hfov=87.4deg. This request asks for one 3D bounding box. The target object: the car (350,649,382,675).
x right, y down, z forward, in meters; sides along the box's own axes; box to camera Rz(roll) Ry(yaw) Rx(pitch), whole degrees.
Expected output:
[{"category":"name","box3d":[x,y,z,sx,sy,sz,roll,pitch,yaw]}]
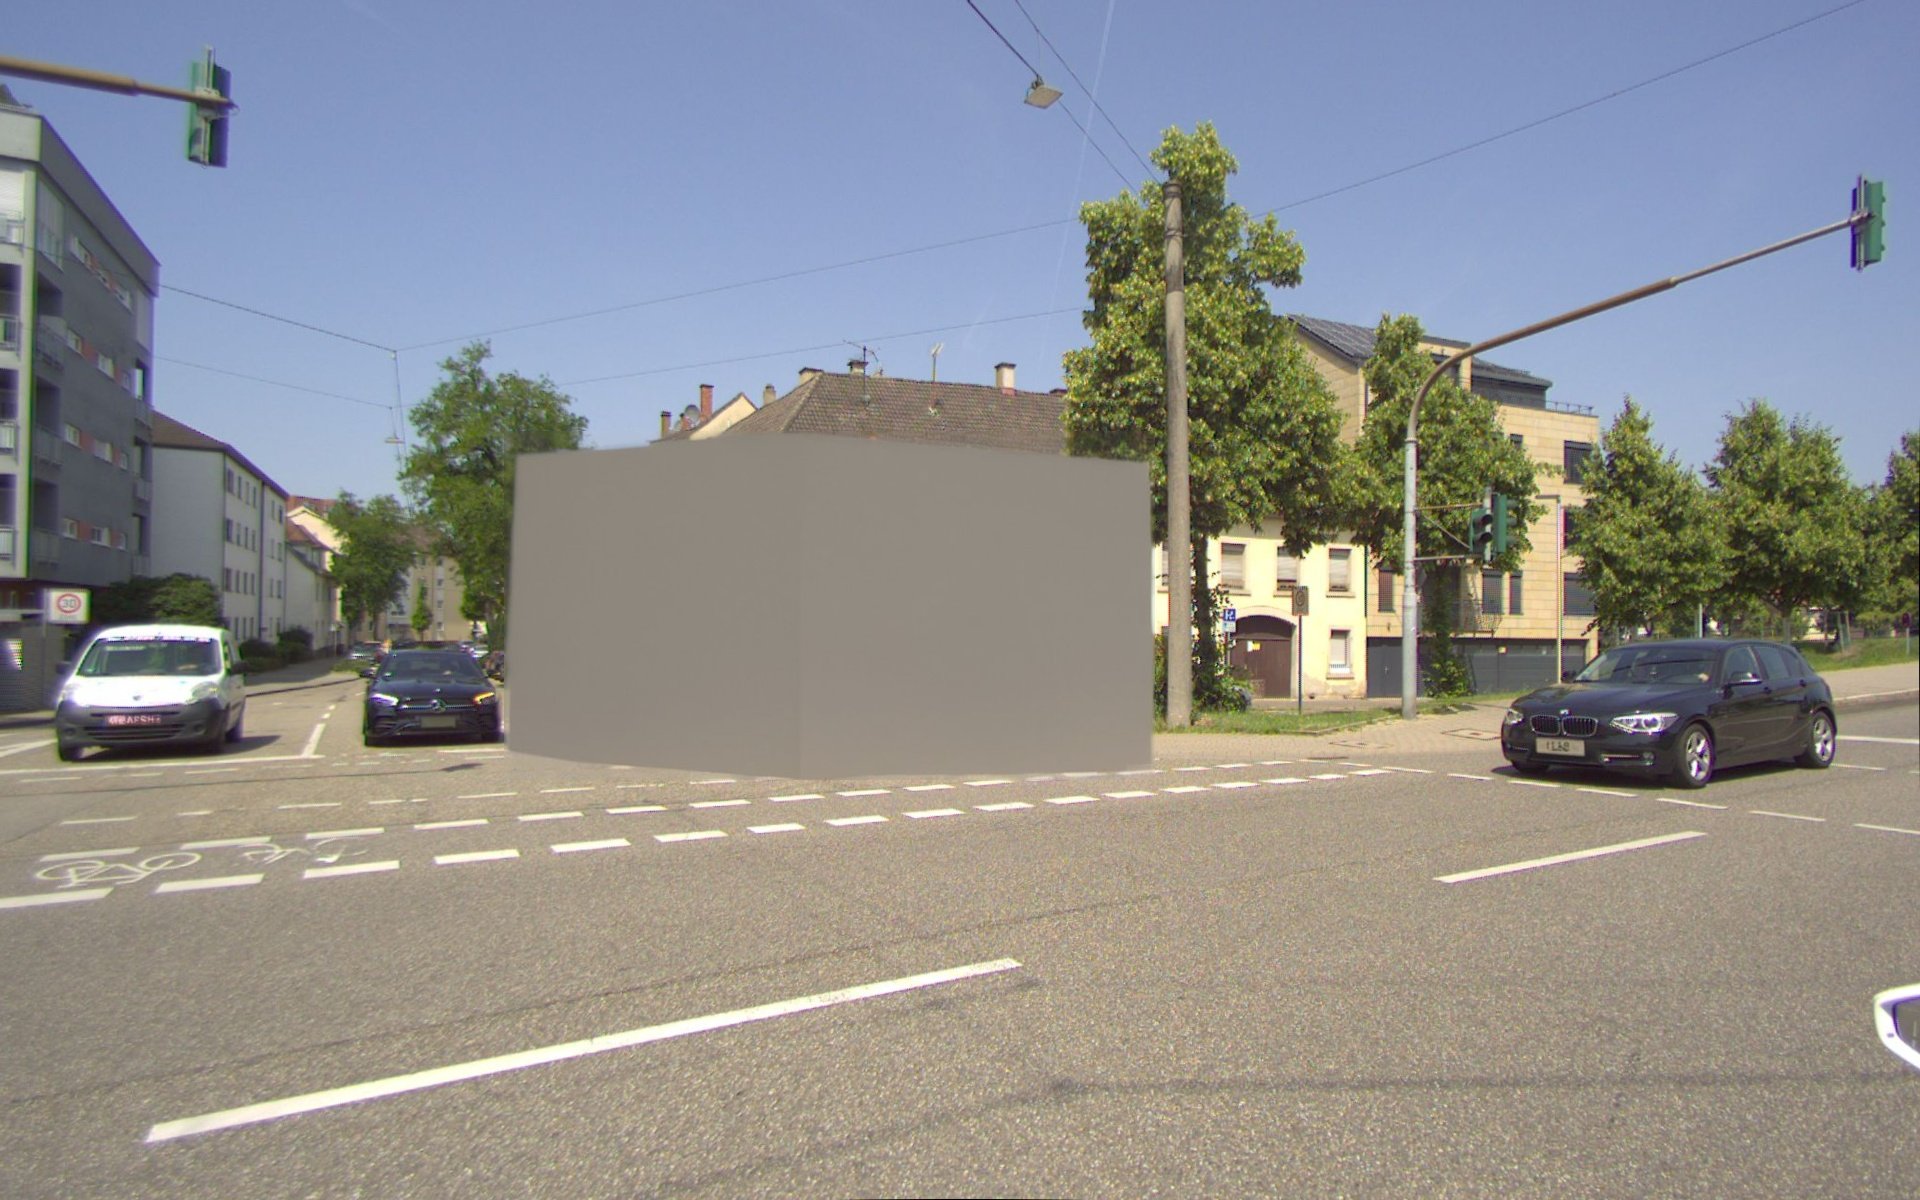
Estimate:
[{"category":"car","box3d":[-43.002,4.489,72.736,1.526,1.694,3.235,1,0,-23]}]

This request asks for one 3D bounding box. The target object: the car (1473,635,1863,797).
[{"category":"car","box3d":[7.608,1.117,10.751,4.000,1.417,1.829,1,-3,-29]}]

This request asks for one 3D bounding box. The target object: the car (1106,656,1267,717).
[{"category":"car","box3d":[6.597,2.474,29.201,4.365,1.451,1.772,-1,0,-23]}]

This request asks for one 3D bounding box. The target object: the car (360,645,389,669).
[{"category":"car","box3d":[-45.985,4.463,78.992,1.526,1.694,3.235,1,0,-23]}]

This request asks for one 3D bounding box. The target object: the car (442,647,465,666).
[{"category":"car","box3d":[-43.927,4.881,87.104,1.692,1.425,4.051,1,0,-28]}]

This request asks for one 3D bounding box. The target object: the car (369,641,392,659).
[{"category":"car","box3d":[-57.569,4.948,99.831,1.526,1.694,3.235,1,0,-23]}]

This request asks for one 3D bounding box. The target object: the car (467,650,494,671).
[{"category":"car","box3d":[-39.536,4.942,82.774,1.814,1.425,4.297,1,0,-28]}]

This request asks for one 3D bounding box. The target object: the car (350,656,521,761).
[{"category":"car","box3d":[-8.735,1.691,16.527,2.094,1.419,4.580,1,-4,-33]}]

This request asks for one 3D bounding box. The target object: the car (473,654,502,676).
[{"category":"car","box3d":[-36.323,4.975,77.144,1.814,1.425,4.297,1,0,-28]}]

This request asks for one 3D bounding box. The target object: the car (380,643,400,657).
[{"category":"car","box3d":[-61.841,5.415,109.006,1.526,1.400,3.235,1,0,-23]}]

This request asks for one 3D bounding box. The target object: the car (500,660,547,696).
[{"category":"car","box3d":[-21.455,3.793,49.283,1.787,1.425,3.970,1,0,-28]}]

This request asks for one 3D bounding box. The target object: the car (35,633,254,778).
[{"category":"car","box3d":[-11.420,1.416,14.344,1.872,1.757,3.668,1,-4,-31]}]

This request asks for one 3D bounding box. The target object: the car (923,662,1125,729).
[{"category":"car","box3d":[1.747,2.515,27.135,5.210,1.649,1.812,1,-4,-23]}]
